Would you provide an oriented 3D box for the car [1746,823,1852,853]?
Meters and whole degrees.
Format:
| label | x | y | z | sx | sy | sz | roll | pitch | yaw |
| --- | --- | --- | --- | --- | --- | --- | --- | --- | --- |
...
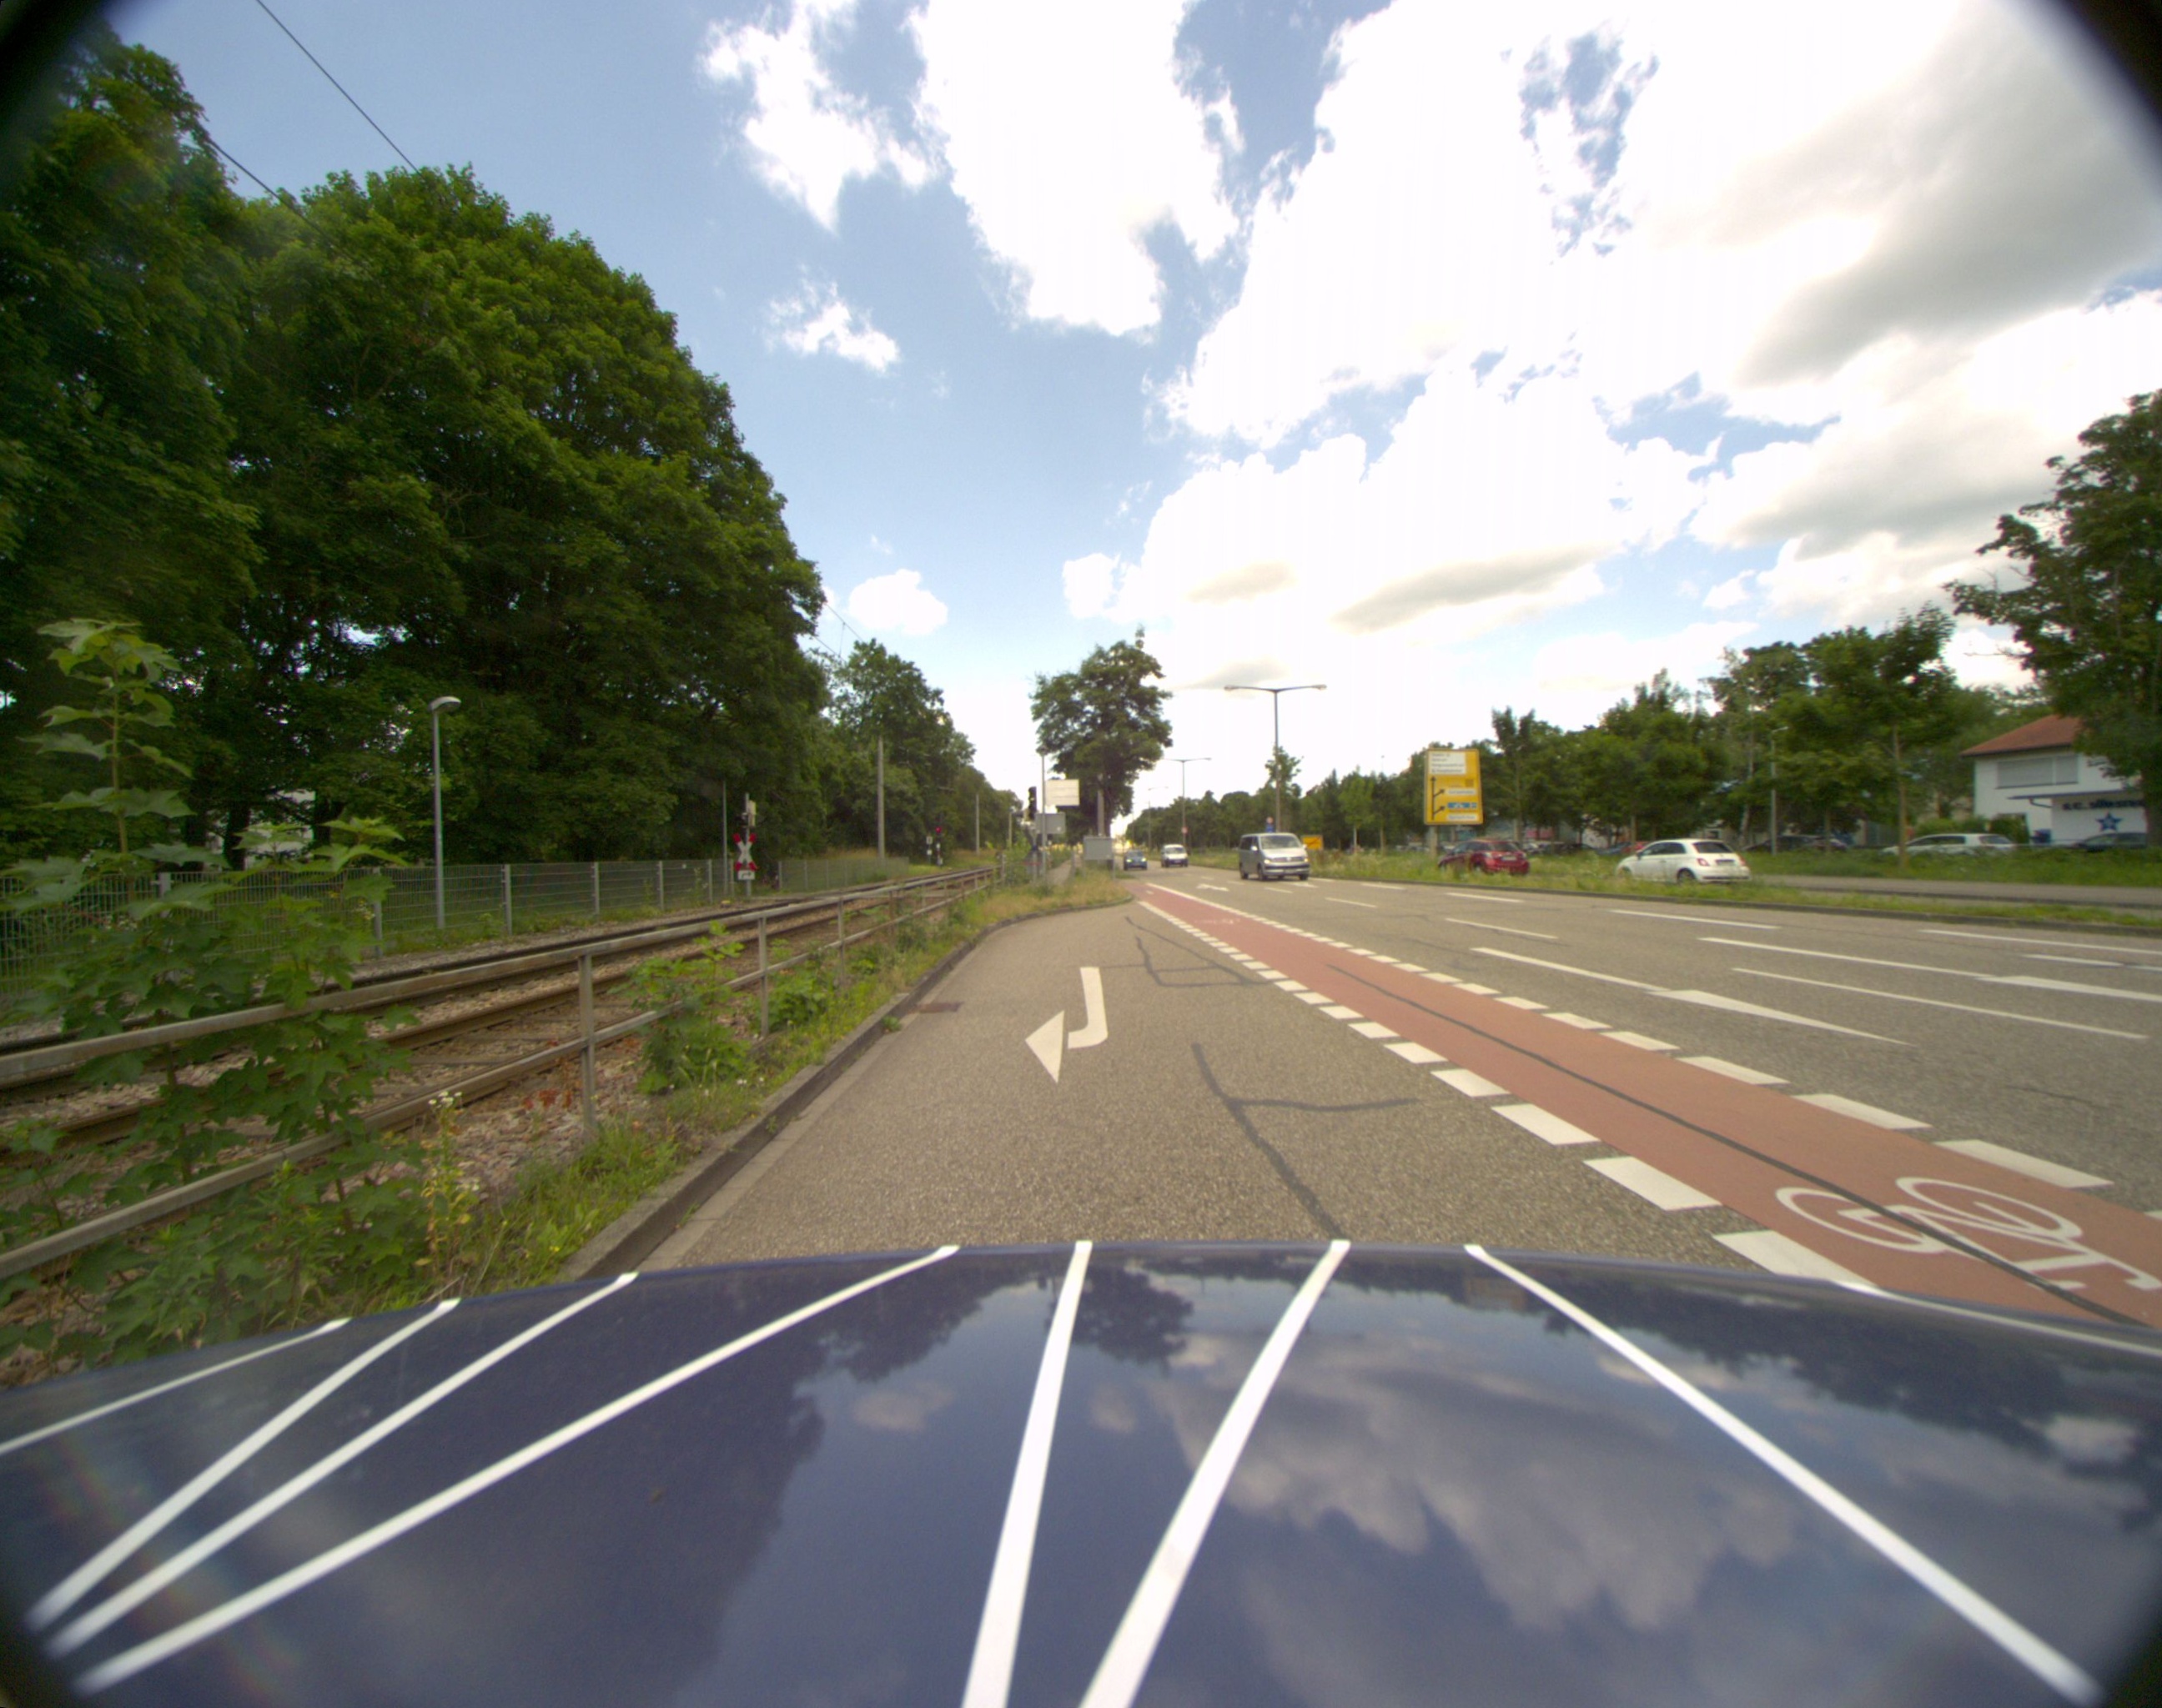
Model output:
| label | x | y | z | sx | sy | sz | roll | pitch | yaw |
| --- | --- | --- | --- | --- | --- | --- | --- | --- | --- |
| car | 36.183 | -0.801 | 38.442 | 1.729 | 1.403 | 3.865 | -1 | 1 | 1 |

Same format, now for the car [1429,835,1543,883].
| label | x | y | z | sx | sy | sz | roll | pitch | yaw |
| --- | --- | --- | --- | --- | --- | --- | --- | --- | --- |
| car | 15.031 | 0.155 | 28.458 | 1.999 | 1.608 | 3.999 | -1 | 1 | -2 |

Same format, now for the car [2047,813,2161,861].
| label | x | y | z | sx | sy | sz | roll | pitch | yaw |
| --- | --- | --- | --- | --- | --- | --- | --- | --- | --- |
| car | 36.538 | -0.574 | 26.040 | 1.762 | 1.578 | 4.023 | -1 | 1 | 1 |

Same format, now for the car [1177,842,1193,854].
| label | x | y | z | sx | sy | sz | roll | pitch | yaw |
| --- | --- | --- | --- | --- | --- | --- | --- | --- | --- |
| car | 15.860 | -0.950 | 116.147 | 1.917 | 1.736 | 4.000 | -1 | 1 | 1 |

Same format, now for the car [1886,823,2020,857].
| label | x | y | z | sx | sy | sz | roll | pitch | yaw |
| --- | --- | --- | --- | --- | --- | --- | --- | --- | --- |
| car | 36.277 | -0.563 | 31.744 | 1.625 | 1.324 | 3.476 | -1 | 1 | 1 |

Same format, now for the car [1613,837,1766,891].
| label | x | y | z | sx | sy | sz | roll | pitch | yaw |
| --- | --- | --- | --- | --- | --- | --- | --- | --- | --- |
| car | 18.155 | 0.256 | 22.884 | 1.616 | 1.437 | 3.592 | -2 | 1 | -2 |

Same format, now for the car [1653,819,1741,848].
| label | x | y | z | sx | sy | sz | roll | pitch | yaw |
| --- | --- | --- | --- | --- | --- | --- | --- | --- | --- |
| car | 36.207 | -1.159 | 44.808 | 1.998 | 1.578 | 4.023 | -1 | 1 | 1 |

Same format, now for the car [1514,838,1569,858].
| label | x | y | z | sx | sy | sz | roll | pitch | yaw |
| --- | --- | --- | --- | --- | --- | --- | --- | --- | --- |
| car | 36.990 | -0.482 | 61.146 | 1.998 | 1.578 | 4.023 | -1 | 1 | 1 |

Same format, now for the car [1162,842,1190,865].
| label | x | y | z | sx | sy | sz | roll | pitch | yaw |
| --- | --- | --- | --- | --- | --- | --- | --- | --- | --- |
| car | 7.523 | -0.068 | 60.538 | 1.747 | 1.775 | 4.156 | -2 | 1 | 2 |

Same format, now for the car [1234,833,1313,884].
| label | x | y | z | sx | sy | sz | roll | pitch | yaw |
| --- | --- | --- | --- | --- | --- | --- | --- | --- | --- |
| car | 7.899 | 0.136 | 31.672 | 1.818 | 1.907 | 5.230 | -1 | 1 | -2 |
